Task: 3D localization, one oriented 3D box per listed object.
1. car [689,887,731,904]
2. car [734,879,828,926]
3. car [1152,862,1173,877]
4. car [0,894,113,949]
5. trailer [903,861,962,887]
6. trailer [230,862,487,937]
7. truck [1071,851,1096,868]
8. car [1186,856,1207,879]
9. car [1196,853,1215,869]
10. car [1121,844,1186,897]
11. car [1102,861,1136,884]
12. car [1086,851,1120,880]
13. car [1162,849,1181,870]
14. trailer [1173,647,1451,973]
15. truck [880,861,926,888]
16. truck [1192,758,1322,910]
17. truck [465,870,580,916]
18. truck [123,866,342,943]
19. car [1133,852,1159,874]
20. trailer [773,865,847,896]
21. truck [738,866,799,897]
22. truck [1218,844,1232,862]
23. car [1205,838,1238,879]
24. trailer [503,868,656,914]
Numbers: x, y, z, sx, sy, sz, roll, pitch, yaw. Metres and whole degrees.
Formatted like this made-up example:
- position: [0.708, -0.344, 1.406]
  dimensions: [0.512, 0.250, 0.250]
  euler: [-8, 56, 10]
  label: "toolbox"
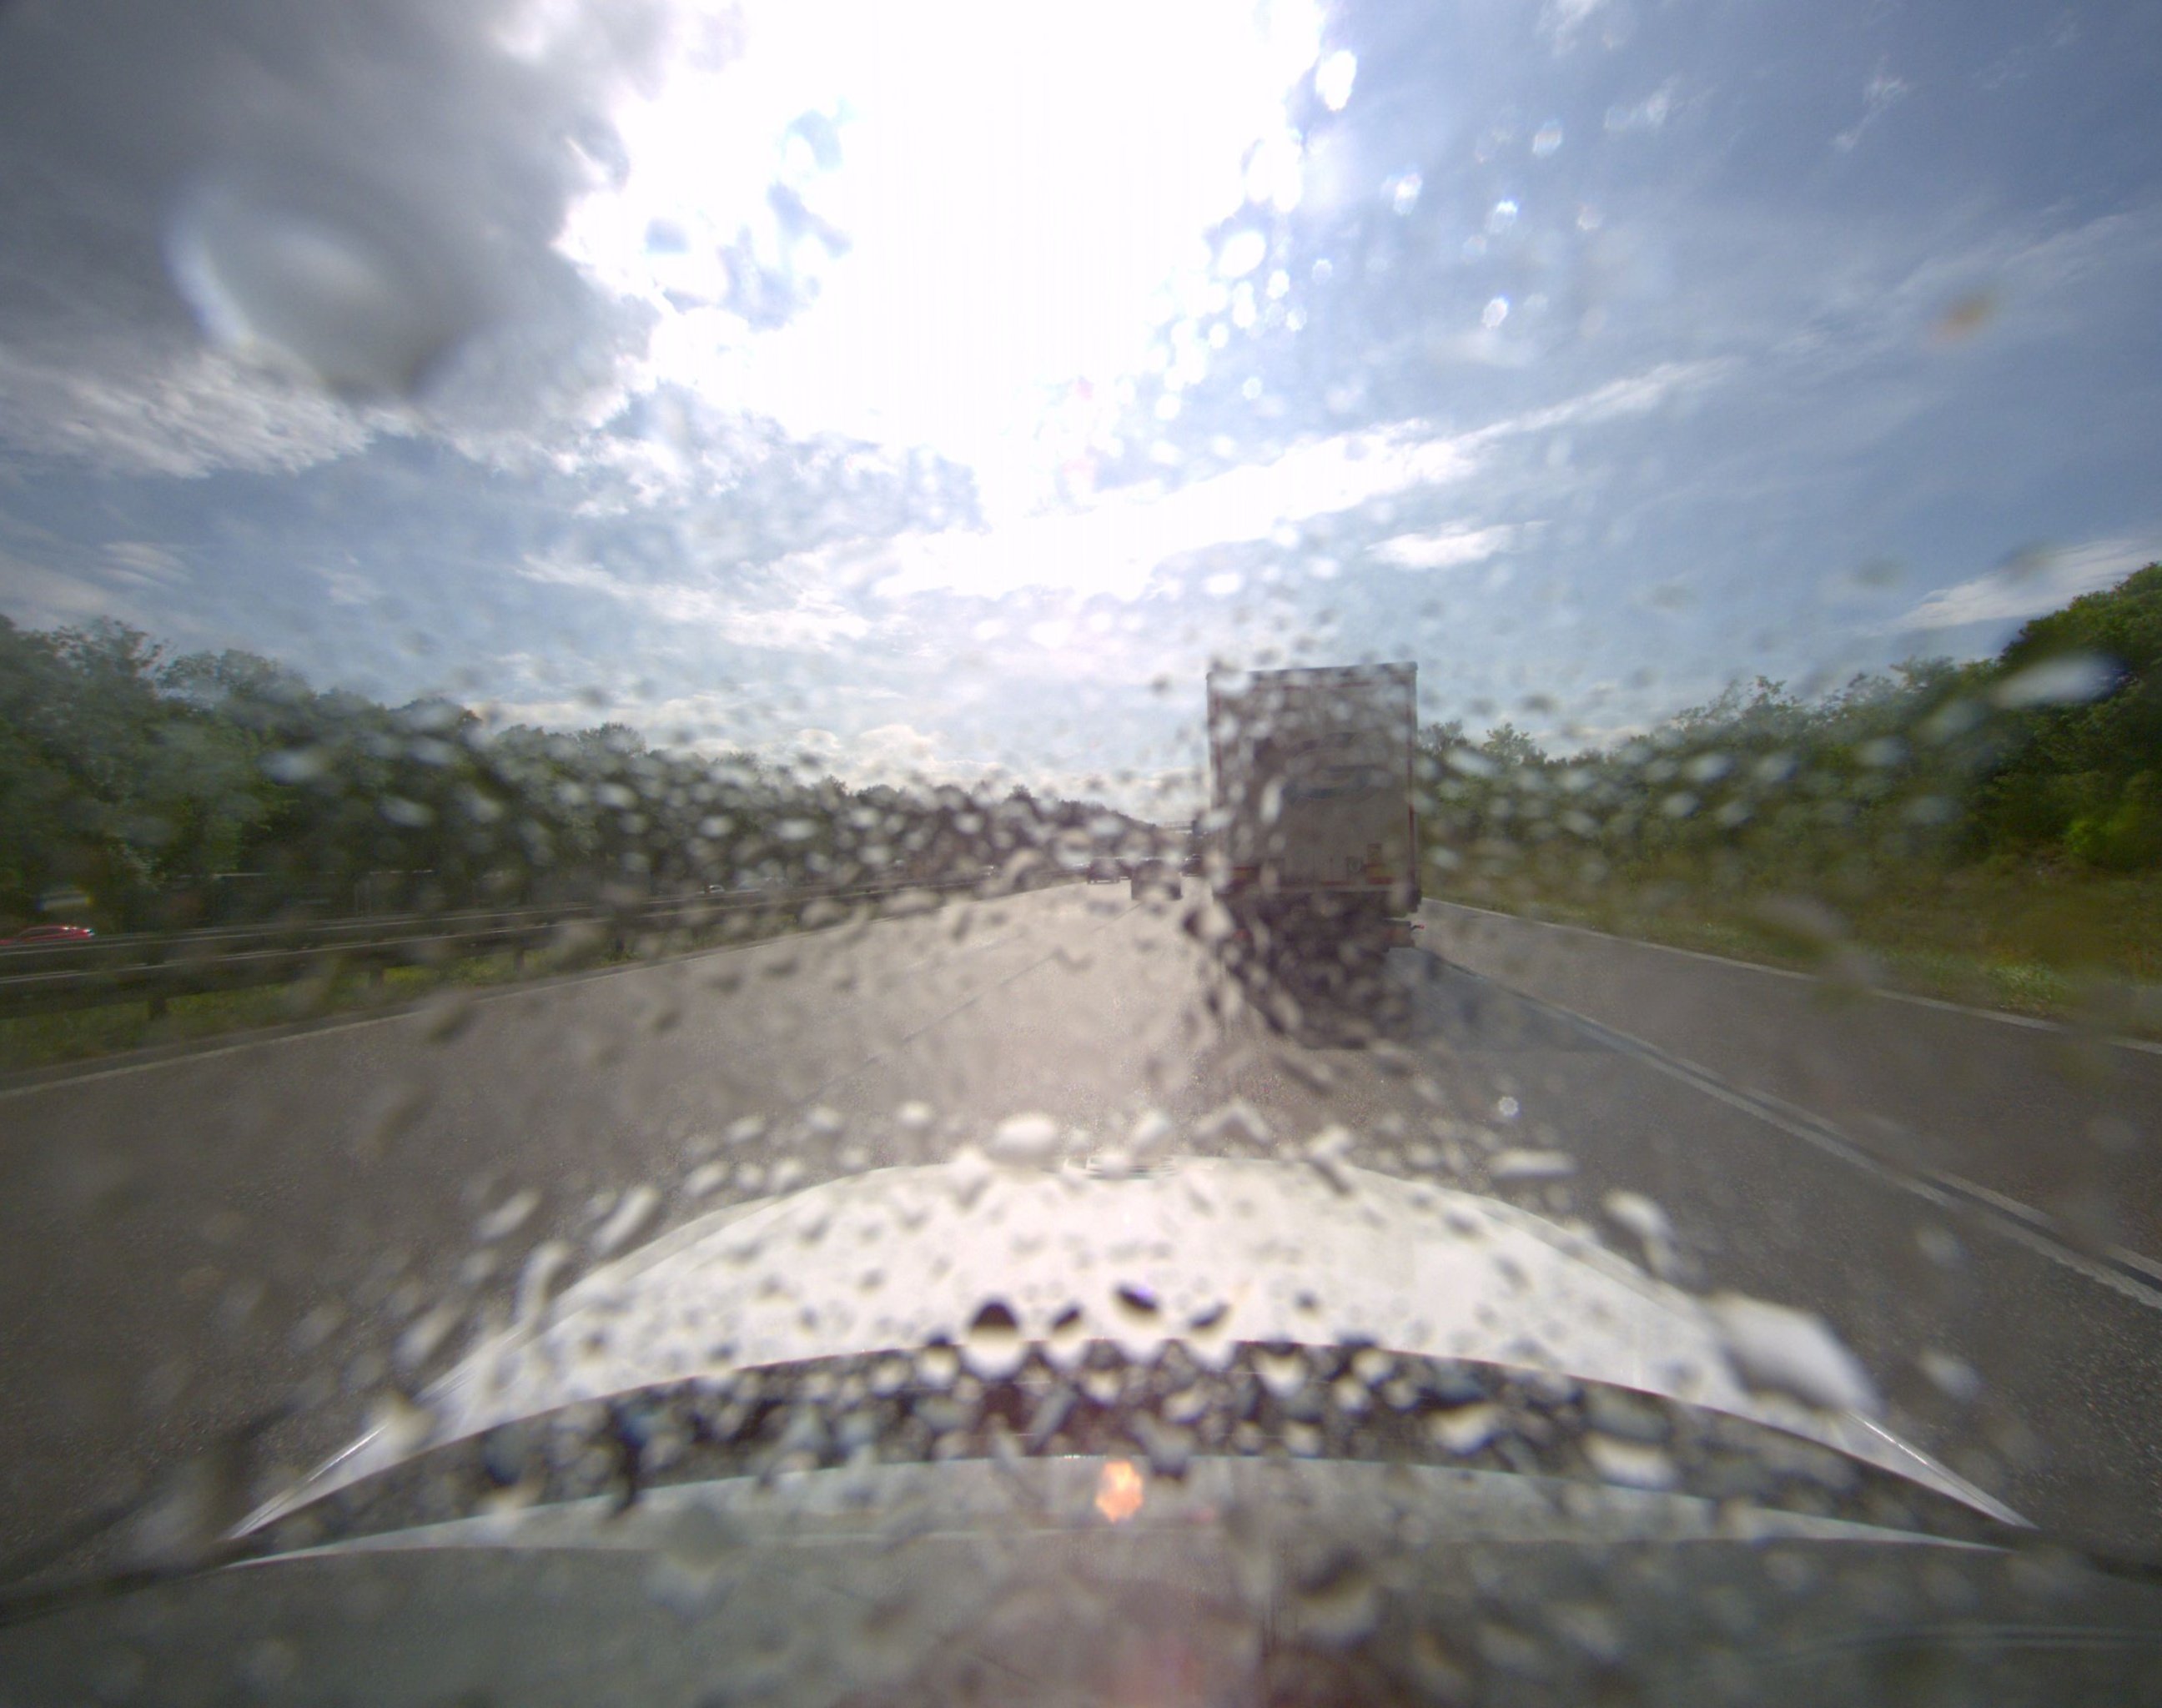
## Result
- position: [-41.053, 4.573, 90.260]
  dimensions: [2.045, 1.718, 4.382]
  euler: [-1, -1, 13]
  label: "car"
- position: [-13.434, 2.116, 36.833]
  dimensions: [1.819, 1.891, 4.791]
  euler: [-1, -1, 9]
  label: "car"
- position: [9.321, 1.767, 92.618]
  dimensions: [1.981, 1.565, 4.770]
  euler: [-1, -1, 11]
  label: "car"
- position: [-52.062, 3.279, 39.328]
  dimensions: [2.775, 2.482, 6.228]
  euler: [-1, -1, 10]
  label: "car"
- position: [-24.748, 3.243, 136.734]
  dimensions: [3.754, 4.117, 11.789]
  euler: [-1, -1, 23]
  label: "trailer"
- position: [-49.385, 2.897, 56.813]
  dimensions: [3.765, 4.406, 13.842]
  euler: [-2, -1, 11]
  label: "trailer"
- position: [0.398, 0.910, 133.245]
  dimensions: [2.824, 2.682, 7.212]
  euler: [-1, -1, 10]
  label: "truck"
- position: [9.602, 1.112, 67.662]
  dimensions: [1.683, 1.805, 3.985]
  euler: [-1, -1, 8]
  label: "car"
- position: [12.509, 0.737, 81.990]
  dimensions: [1.854, 1.516, 3.984]
  euler: [-1, -1, 8]
  label: "car"
- position: [2.982, 0.652, 32.491]
  dimensions: [2.261, 1.954, 4.832]
  euler: [-1, -1, 9]
  label: "car"
- position: [2.950, 1.375, 61.928]
  dimensions: [1.897, 1.636, 4.630]
  euler: [-3, -1, 11]
  label: "car"
- position: [1.435, 0.734, 52.367]
  dimensions: [1.683, 1.805, 3.985]
  euler: [-1, -1, 8]
  label: "car"
- position: [12.029, 0.766, 108.022]
  dimensions: [1.981, 2.616, 5.274]
  euler: [-1, -1, 11]
  label: "car"
- position: [3.918, -0.475, 16.968]
  dimensions: [3.264, 3.899, 14.164]
  euler: [-1, 0, 9]
  label: "trailer"
- position: [-28.124, 3.153, 128.956]
  dimensions: [3.754, 4.117, 7.084]
  euler: [-1, -1, 23]
  label: "truck"
- position: [5.045, -0.485, 24.266]
  dimensions: [3.265, 3.891, 6.412]
  euler: [-1, -1, 9]
  label: "truck"
- position: [-46.615, 3.144, 68.290]
  dimensions: [3.764, 3.590, 7.375]
  euler: [-1, -1, 10]
  label: "truck"
- position: [-50.760, 2.858, 49.220]
  dimensions: [3.764, 4.234, 8.441]
  euler: [-1, -1, 10]
  label: "truck"
- position: [6.354, 0.865, 79.000]
  dimensions: [1.966, 2.054, 4.770]
  euler: [-1, -1, 11]
  label: "car"
- position: [-35.840, 3.435, 108.180]
  dimensions: [3.759, 3.649, 10.544]
  euler: [-2, -1, 17]
  label: "trailer"
- position: [-38.243, 3.376, 99.977]
  dimensions: [3.760, 3.660, 6.732]
  euler: [-1, -1, 15]
  label: "truck"
- position: [29.614, -0.195, 167.525]
  dimensions: [2.758, 3.632, 5.934]
  euler: [-1, -1, 11]
  label: "truck"
- position: [21.432, 0.768, 125.494]
  dimensions: [4.379, 5.831, 16.854]
  euler: [-1, -1, 8]
  label: "car"
- position: [-45.383, 3.218, 74.691]
  dimensions: [3.765, 3.649, 13.384]
  euler: [-2, -1, 11]
  label: "trailer"
